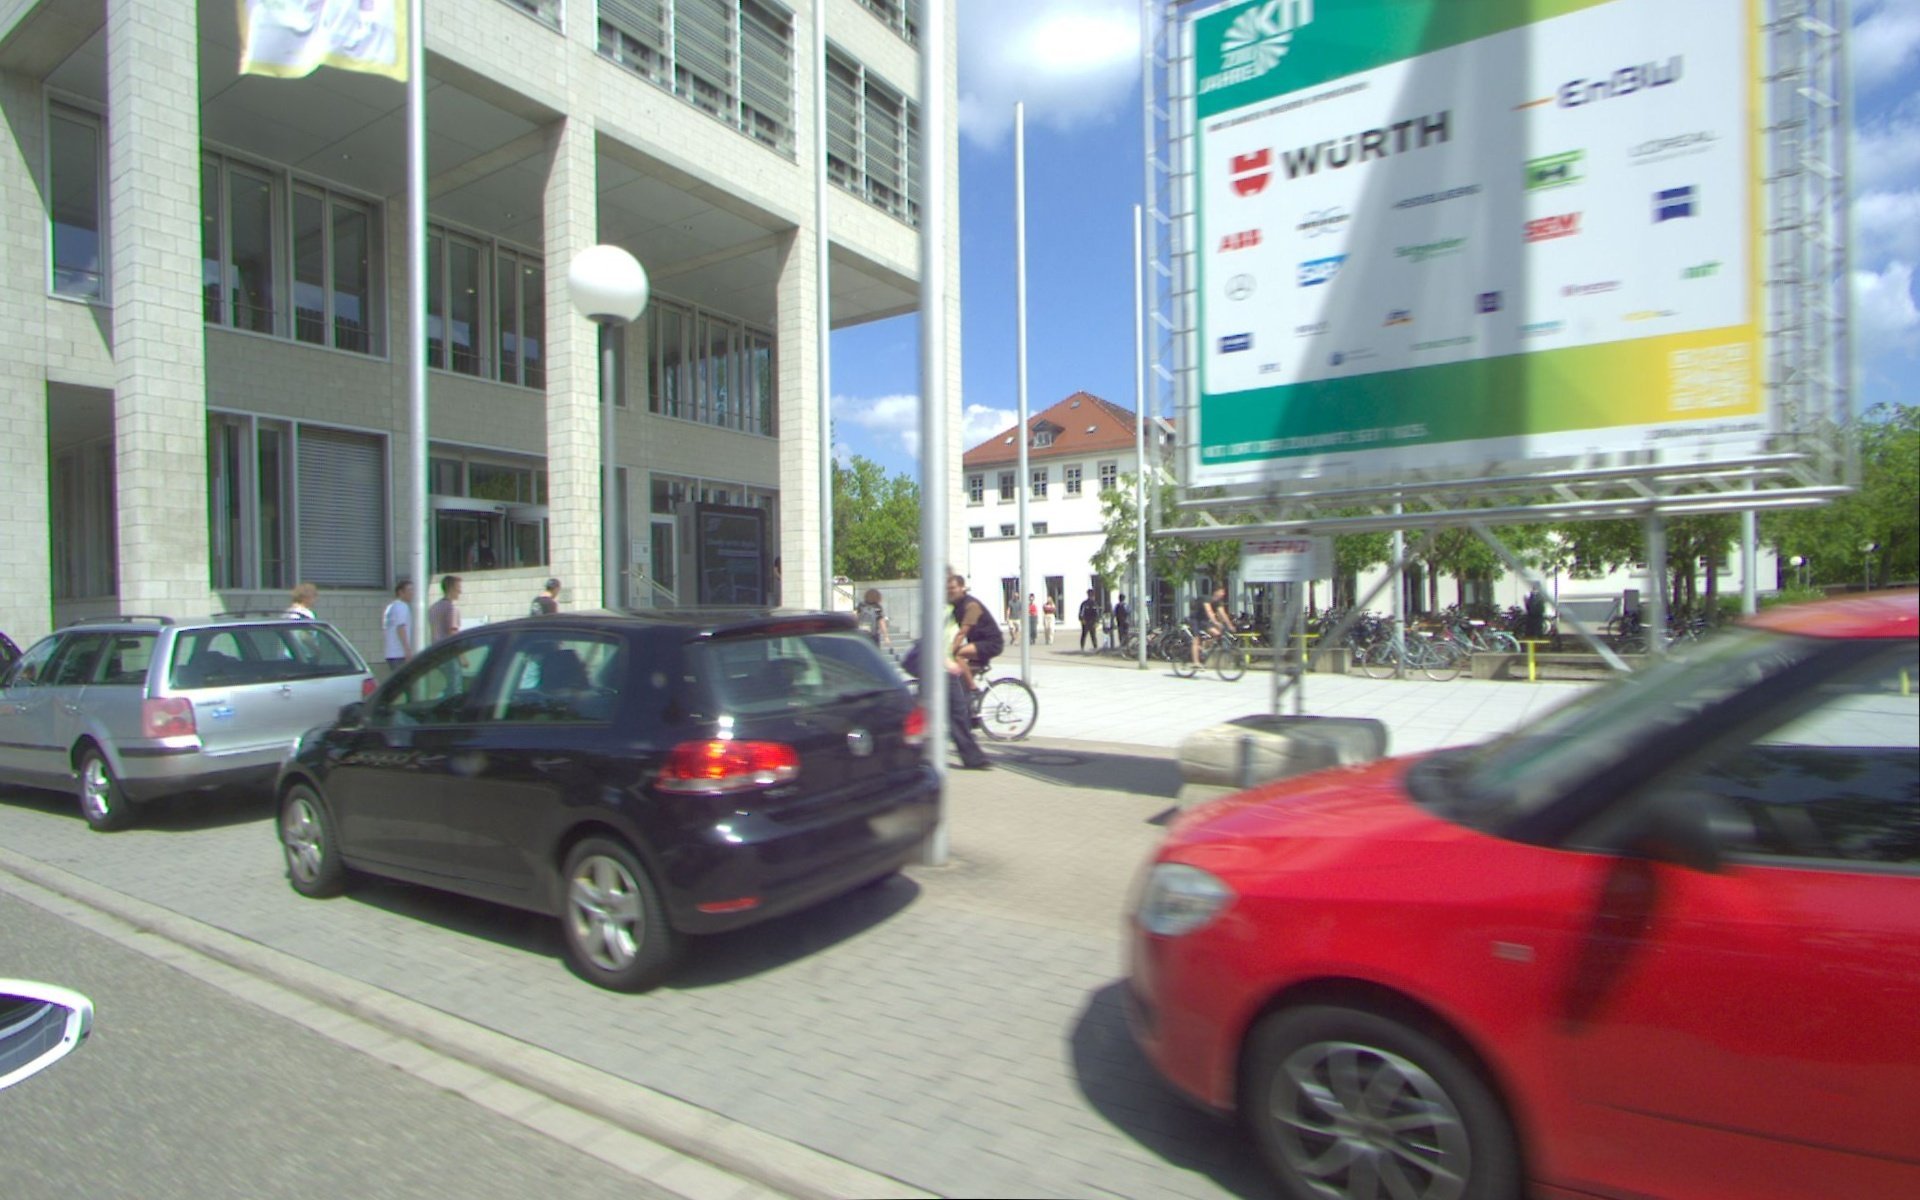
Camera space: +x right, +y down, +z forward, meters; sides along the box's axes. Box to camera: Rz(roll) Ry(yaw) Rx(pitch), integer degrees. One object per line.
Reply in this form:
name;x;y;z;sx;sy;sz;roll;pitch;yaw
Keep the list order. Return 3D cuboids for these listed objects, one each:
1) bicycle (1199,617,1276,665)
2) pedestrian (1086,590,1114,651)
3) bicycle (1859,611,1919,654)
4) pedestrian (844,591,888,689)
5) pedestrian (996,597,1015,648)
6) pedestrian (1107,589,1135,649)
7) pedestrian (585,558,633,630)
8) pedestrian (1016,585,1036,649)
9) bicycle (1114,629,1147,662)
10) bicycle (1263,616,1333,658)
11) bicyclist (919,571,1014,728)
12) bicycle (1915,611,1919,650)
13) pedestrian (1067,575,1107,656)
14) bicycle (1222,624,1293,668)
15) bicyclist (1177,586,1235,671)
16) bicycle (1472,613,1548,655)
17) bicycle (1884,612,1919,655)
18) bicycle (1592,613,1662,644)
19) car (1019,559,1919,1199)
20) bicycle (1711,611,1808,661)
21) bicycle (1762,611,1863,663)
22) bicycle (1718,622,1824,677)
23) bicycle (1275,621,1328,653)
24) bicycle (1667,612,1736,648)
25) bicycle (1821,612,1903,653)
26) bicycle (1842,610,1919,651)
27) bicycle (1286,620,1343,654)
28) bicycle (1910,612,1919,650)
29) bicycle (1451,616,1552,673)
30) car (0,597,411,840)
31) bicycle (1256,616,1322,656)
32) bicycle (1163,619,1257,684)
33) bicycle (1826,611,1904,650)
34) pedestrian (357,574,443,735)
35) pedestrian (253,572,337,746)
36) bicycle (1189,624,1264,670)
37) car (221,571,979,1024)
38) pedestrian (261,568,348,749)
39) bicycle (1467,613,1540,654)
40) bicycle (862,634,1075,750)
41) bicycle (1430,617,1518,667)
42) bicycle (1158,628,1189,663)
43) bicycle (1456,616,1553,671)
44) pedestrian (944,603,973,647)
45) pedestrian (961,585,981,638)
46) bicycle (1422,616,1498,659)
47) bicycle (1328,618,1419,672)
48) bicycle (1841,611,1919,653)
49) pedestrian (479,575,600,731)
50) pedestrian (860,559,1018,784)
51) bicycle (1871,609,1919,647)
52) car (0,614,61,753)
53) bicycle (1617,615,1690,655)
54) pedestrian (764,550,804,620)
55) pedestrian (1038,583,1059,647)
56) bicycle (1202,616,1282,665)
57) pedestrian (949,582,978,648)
bicycle;6.951;1.019;25.129;1.733;1.113;0.604;-2;-1;2
pedestrian;4.195;0.610;29.988;0.622;1.769;0.716;-2;-1;-3
bicycle;26.058;0.899;27.688;1.733;1.113;0.604;-2;-1;3
pedestrian;-1.641;0.693;17.496;0.724;1.661;0.691;-1;0;-5
pedestrian;1.638;0.808;35.920;0.622;1.800;0.716;-2;-1;3
pedestrian;4.845;0.589;30.223;0.622;1.769;0.716;-2;-1;-3
pedestrian;-8.111;-0.128;23.154;0.707;1.605;0.715;-3;-1;36
pedestrian;2.361;0.611;35.859;0.622;2.258;0.716;-2;-1;3
bicycle;4.393;1.153;25.683;0.511;0.803;1.764;-1;0;20
bicycle;9.585;1.047;28.443;1.733;1.113;0.604;-2;-1;2
bicyclist;0.082;0.507;10.461;0.915;1.585;0.663;-1;0;7
bicycle;28.295;0.824;28.400;1.733;1.113;0.604;-2;-1;3
pedestrian;3.596;0.440;28.432;0.840;2.258;0.633;-2;-1;-20
bicycle;8.144;1.264;27.425;1.733;1.113;0.604;-2;-1;2
bicyclist;4.774;0.538;19.442;0.675;1.590;0.871;-1;1;-42
bicycle;15.524;0.954;28.288;1.733;1.113;0.604;-2;-1;2
bicycle;25.962;0.878;26.837;1.733;1.113;0.604;-2;-1;3
bicycle;20.745;0.899;31.164;1.733;0.880;0.604;-2;-1;2
car;2.312;0.667;2.235;4.089;1.517;1.609;-1;2;33
bicycle;19.015;0.853;23.838;1.733;1.113;0.604;-2;-1;2
bicycle;19.650;0.851;23.106;1.733;1.113;0.604;-2;-1;2
bicycle;17.628;1.066;21.797;1.733;1.113;0.604;-2;-1;2
bicycle;12.686;1.361;37.260;1.733;1.113;0.604;-2;-1;2
bicycle;24.291;0.986;32.801;1.733;1.113;0.604;-2;-1;2
bicycle;26.205;0.935;29.112;1.733;1.113;0.604;-2;-1;3
bicycle;27.300;0.905;29.691;1.733;1.113;0.516;-2;-1;2
bicycle;12.556;1.314;35.492;1.733;1.113;0.604;-2;-1;2
bicycle;29.141;0.888;29.464;1.733;1.113;0.604;-2;-1;2
bicycle;11.329;0.927;20.988;1.733;1.113;0.604;-2;-1;2
car;-6.776;0.808;8.383;4.498;1.550;1.716;-1;1;30
bicycle;9.747;1.065;29.695;1.733;1.113;0.604;-2;-1;2
bicycle;4.822;0.971;19.399;0.675;1.153;1.677;0;1;-42
bicycle;27.369;0.921;30.307;1.733;1.113;0.593;-2;-1;2
pedestrian;-7.099;0.671;12.702;0.742;1.951;0.720;-1;0;40
pedestrian;-7.773;0.668;11.713;0.774;1.951;0.729;-1;0;-35
bicycle;6.867;1.213;25.865;1.733;1.113;0.604;-2;-1;2
car;-2.024;0.717;5.238;3.945;1.549;1.715;-1;0;34
pedestrian;-7.359;0.632;11.248;0.776;1.951;0.589;-1;0;-35
bicycle;15.801;0.967;29.143;1.733;1.113;0.604;-2;-1;2
bicycle;0.120;0.940;10.489;2.113;1.092;0.904;-2;-1;6
bicycle;12.296;1.000;23.996;1.733;1.113;0.604;-2;-1;2
bicycle;5.370;1.132;25.142;0.511;0.803;1.764;-1;0;20
bicycle;11.907;0.938;21.909;1.733;1.113;0.604;-2;-1;2
pedestrian;-0.048;0.843;33.974;0.708;1.449;0.629;-2;-1;-39
pedestrian;0.478;0.510;43.376;0.702;2.258;0.634;-2;-1;5
bicycle;13.760;1.027;27.581;1.733;1.113;0.604;-2;-1;2
bicycle;9.182;0.991;22.262;1.733;1.113;0.604;-2;-1;2
bicycle;26.164;0.902;28.406;1.733;1.113;0.604;-2;-1;3
pedestrian;-5.563;0.678;13.276;1.007;1.945;1.092;-1;0;34
pedestrian;-0.172;0.569;8.504;0.987;1.763;0.916;-1;0;33
bicycle;29.168;0.857;30.764;1.733;1.113;0.604;-2;-1;2
car;-12.293;0.948;11.718;3.949;1.516;1.611;-1;-1;32
bicycle;20.912;1.048;30.208;1.733;1.113;0.604;-2;-1;2
pedestrian;-4.719;-0.389;26.903;0.707;1.821;0.715;-3;-1;36
pedestrian;3.158;0.537;35.895;0.622;2.258;0.716;-2;-1;3
bicycle;6.859;0.987;24.410;1.733;1.113;0.604;-2;-1;2
pedestrian;0.123;0.525;34.967;0.708;2.258;0.629;-2;-1;-39
